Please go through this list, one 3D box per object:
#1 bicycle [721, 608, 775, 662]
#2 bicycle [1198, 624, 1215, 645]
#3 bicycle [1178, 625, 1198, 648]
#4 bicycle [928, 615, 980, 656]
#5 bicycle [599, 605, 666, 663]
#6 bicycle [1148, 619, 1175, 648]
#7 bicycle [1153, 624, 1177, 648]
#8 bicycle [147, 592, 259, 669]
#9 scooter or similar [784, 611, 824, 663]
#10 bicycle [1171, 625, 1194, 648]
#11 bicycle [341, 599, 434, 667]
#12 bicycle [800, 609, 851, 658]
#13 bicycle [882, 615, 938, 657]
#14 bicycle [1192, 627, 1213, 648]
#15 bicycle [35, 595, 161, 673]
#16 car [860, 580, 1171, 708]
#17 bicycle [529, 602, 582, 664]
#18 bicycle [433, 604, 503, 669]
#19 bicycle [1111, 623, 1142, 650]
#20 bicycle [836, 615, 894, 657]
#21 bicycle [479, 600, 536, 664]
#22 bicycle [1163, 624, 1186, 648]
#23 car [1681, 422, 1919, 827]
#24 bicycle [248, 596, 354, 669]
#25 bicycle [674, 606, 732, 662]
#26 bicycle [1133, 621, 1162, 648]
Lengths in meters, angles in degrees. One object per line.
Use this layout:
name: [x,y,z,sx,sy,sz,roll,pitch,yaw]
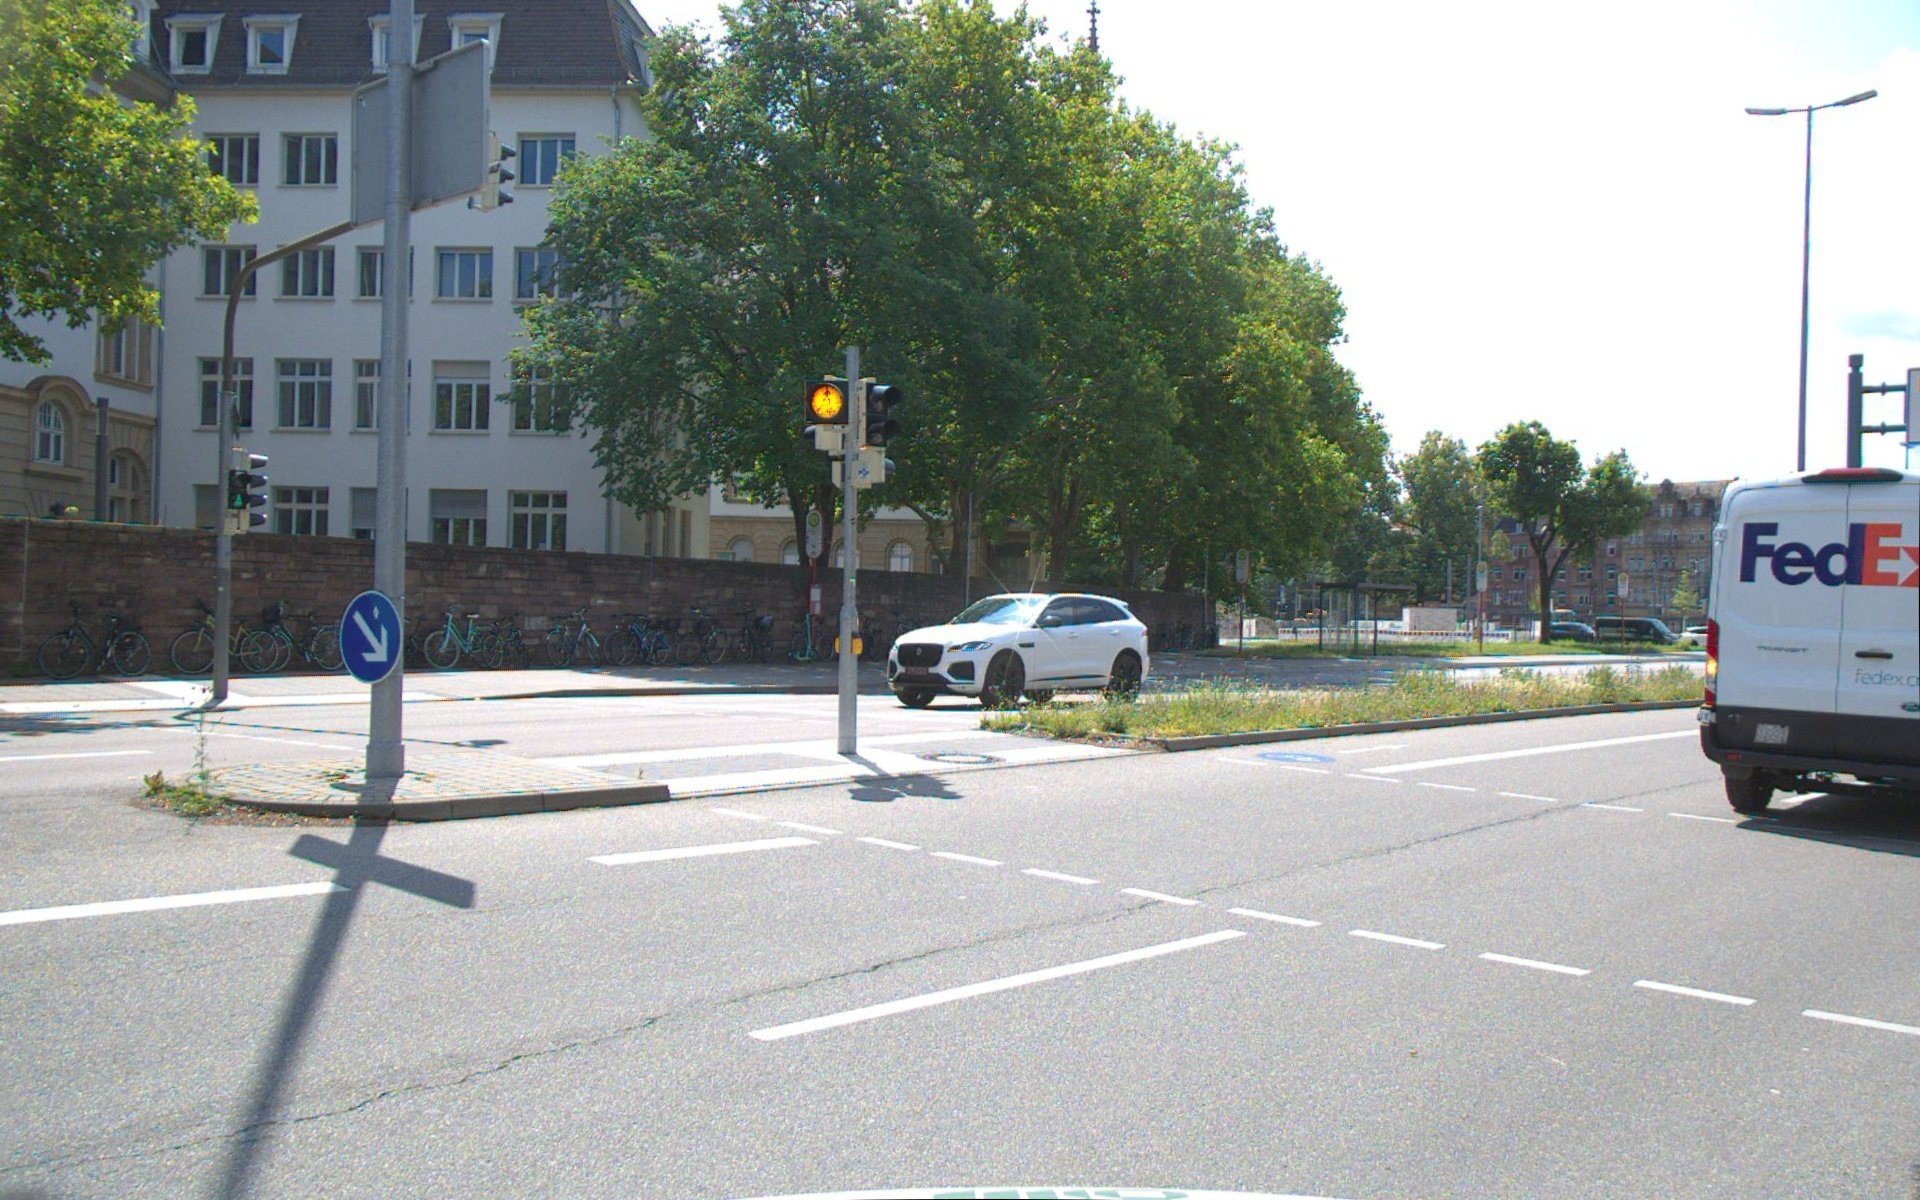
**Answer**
bicycle: [-4.775,0.775,37.306,0.521,1.172,1.594,1,0,19]
bicycle: [11.097,1.540,74.538,0.532,0.918,1.666,1,0,16]
bicycle: [9.540,1.523,69.103,0.442,0.918,1.794,1,0,21]
bicycle: [-0.154,0.965,45.292,0.533,1.066,1.892,1,0,29]
bicycle: [-6.761,0.695,34.225,0.394,1.172,1.591,1,0,29]
bicycle: [7.620,1.265,62.457,0.533,1.070,1.623,1,0,24]
bicycle: [7.955,1.382,64.137,0.532,0.918,1.665,1,0,21]
bicycle: [-11.963,0.484,26.181,0.490,1.172,1.590,1,0,33]
scooter or similar: [-3.590,0.847,38.100,0.423,1.172,1.193,1,0,20]
bicycle: [9.075,1.493,67.375,0.532,0.918,1.665,1,0,21]
bicycle: [-10.110,0.578,29.240,0.405,1.172,1.588,1,-1,36]
bicycle: [-3.251,0.799,40.093,0.424,1.163,1.591,1,0,29]
bicycle: [-1.289,0.927,43.434,0.533,1.066,1.946,1,0,29]
bicycle: [10.634,1.644,72.497,0.532,0.918,1.665,1,0,21]
bicycle: [-12.847,0.505,24.681,0.561,1.118,1.590,1,0,33]
car: [0.921,0.614,24.525,2.041,1.696,4.745,1,0,42]
bicycle: [-7.827,0.630,32.045,0.393,1.172,1.595,1,0,9]
bicycle: [-9.125,0.663,30.739,0.393,1.172,1.595,1,0,18]
bicycle: [5.891,1.279,58.350,0.533,0.918,1.664,1,0,26]
bicycle: [-2.379,0.895,41.582,0.471,1.026,1.797,1,0,32]
bicycle: [-8.506,0.596,31.151,0.393,1.172,1.595,1,0,9]
bicycle: [8.531,1.433,65.765,0.532,0.918,1.665,1,0,21]
car: [7.915,0.201,13.443,2.109,2.699,5.670,1,0,42]
bicycle: [-11.015,0.535,27.684,0.610,1.172,1.590,1,0,33]
bicycle: [-5.539,0.727,35.671,0.521,1.172,1.594,1,0,19]
bicycle: [6.913,1.271,60.916,0.533,0.968,1.664,1,0,24]
